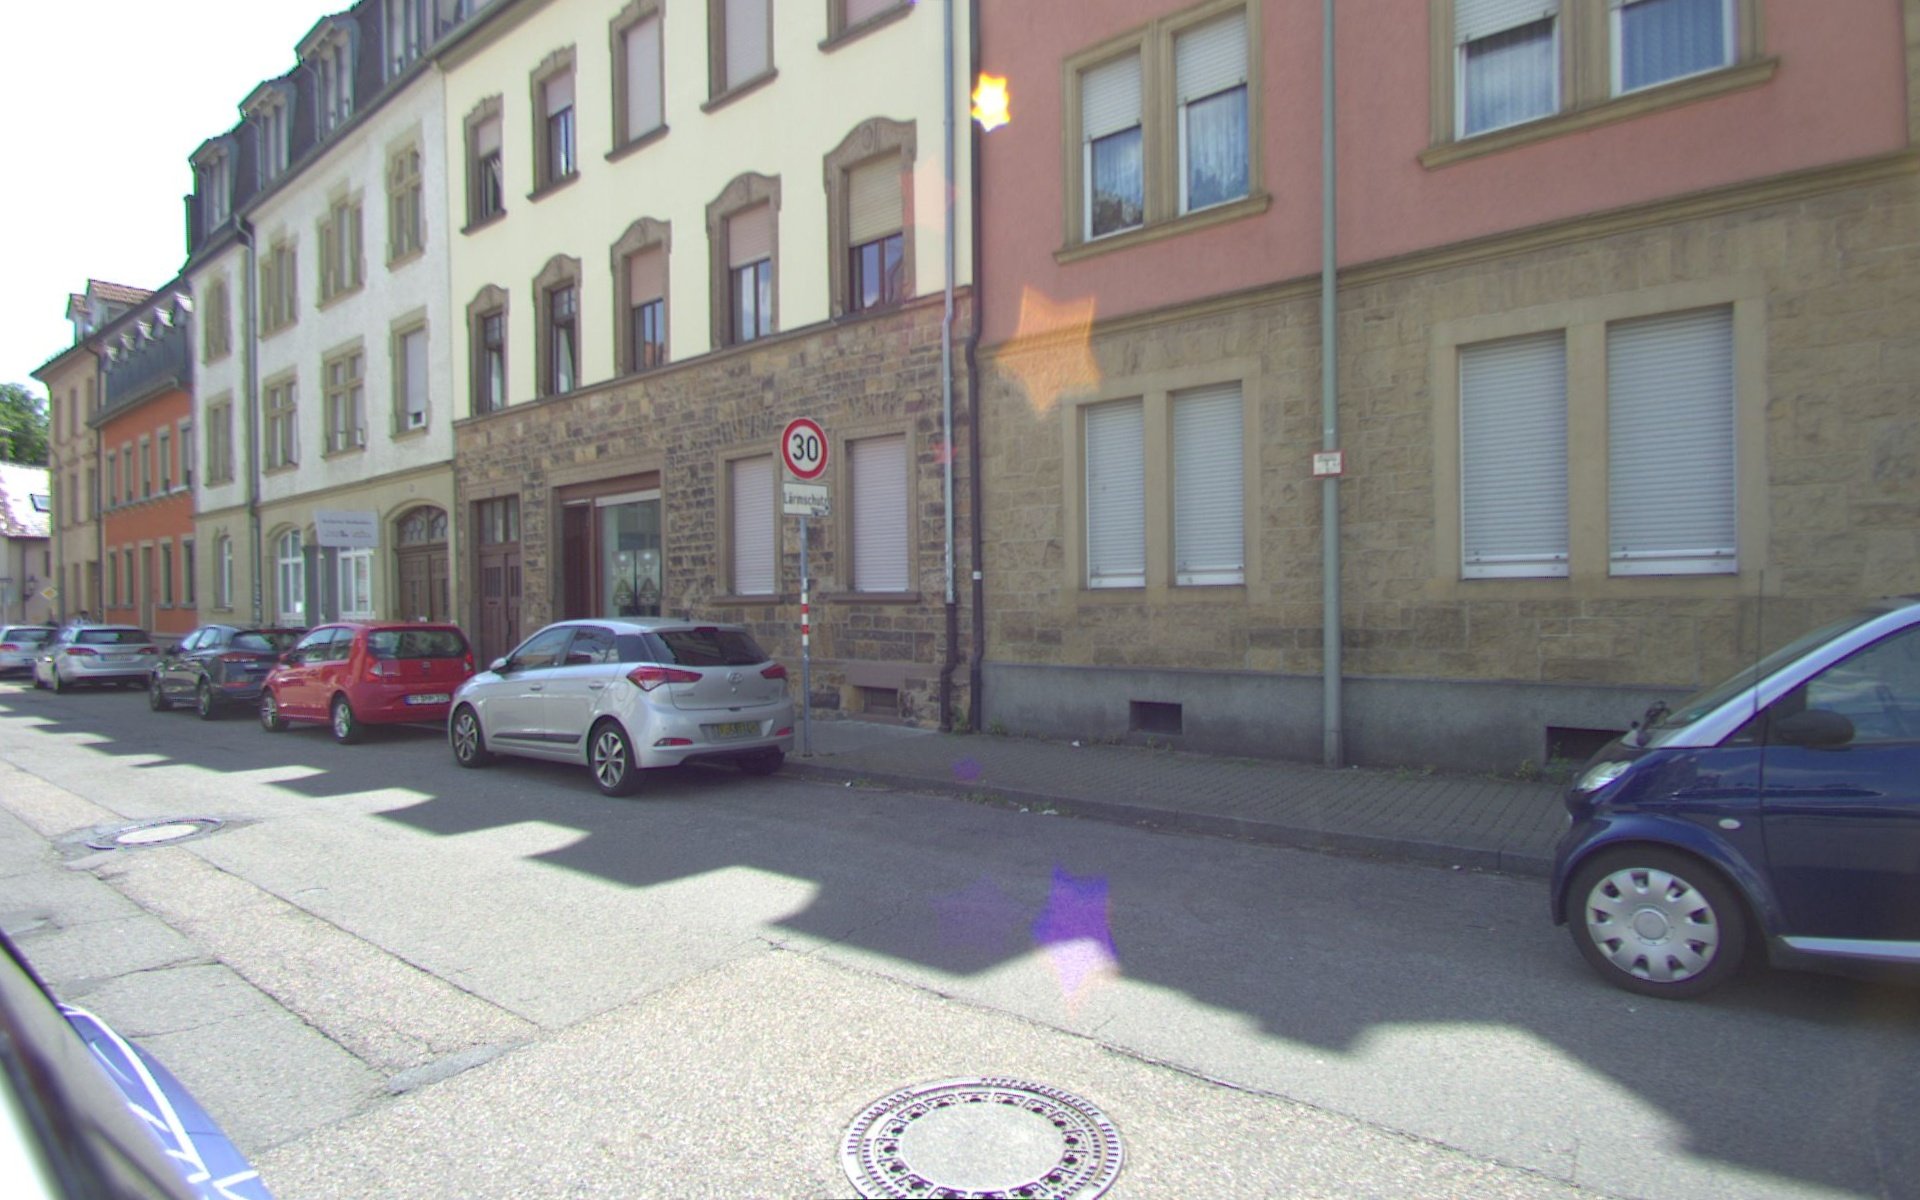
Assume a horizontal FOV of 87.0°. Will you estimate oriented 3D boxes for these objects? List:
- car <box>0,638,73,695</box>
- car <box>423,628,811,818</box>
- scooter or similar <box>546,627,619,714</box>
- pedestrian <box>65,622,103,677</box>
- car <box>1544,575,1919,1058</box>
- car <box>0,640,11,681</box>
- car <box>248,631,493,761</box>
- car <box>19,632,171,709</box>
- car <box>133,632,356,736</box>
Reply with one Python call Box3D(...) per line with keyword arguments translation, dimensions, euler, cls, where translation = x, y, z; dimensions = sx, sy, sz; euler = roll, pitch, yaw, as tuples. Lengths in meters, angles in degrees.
Box3D(translation=(-26.411, 1.827, 28.335), dimensions=(3.848, 1.470, 1.694), euler=(-2, -3, 38), cls="car")
Box3D(translation=(-3.374, 1.006, 9.608), dimensions=(4.014, 1.442, 1.618), euler=(-2, -3, 39), cls="car")
Box3D(translation=(-5.548, 1.019, 14.852), dimensions=(1.318, 1.230, 0.371), euler=(-2, -2, 39), cls="scooter or similar")
Box3D(translation=(-29.072, 1.634, 33.599), dimensions=(0.762, 1.784, 0.761), euler=(-2, 1, 38), cls="pedestrian")
Box3D(translation=(3.735, 0.686, 3.593), dimensions=(2.692, 1.534, 1.423), euler=(-1, -1, 38), cls="car")
Box3D(translation=(-35.738, 2.202, 36.439), dimensions=(3.852, 1.453, 1.711), euler=(-2, -1, 38), cls="car")
Box3D(translation=(-7.763, 1.157, 13.238), dimensions=(3.490, 1.453, 1.583), euler=(-2, -2, 38), cls="car")
Box3D(translation=(-19.604, 1.530, 22.868), dimensions=(4.376, 1.522, 1.859), euler=(-2, -1, 39), cls="car")
Box3D(translation=(-11.870, 1.300, 16.691), dimensions=(4.212, 1.449, 1.855), euler=(-2, -1, 38), cls="car")
